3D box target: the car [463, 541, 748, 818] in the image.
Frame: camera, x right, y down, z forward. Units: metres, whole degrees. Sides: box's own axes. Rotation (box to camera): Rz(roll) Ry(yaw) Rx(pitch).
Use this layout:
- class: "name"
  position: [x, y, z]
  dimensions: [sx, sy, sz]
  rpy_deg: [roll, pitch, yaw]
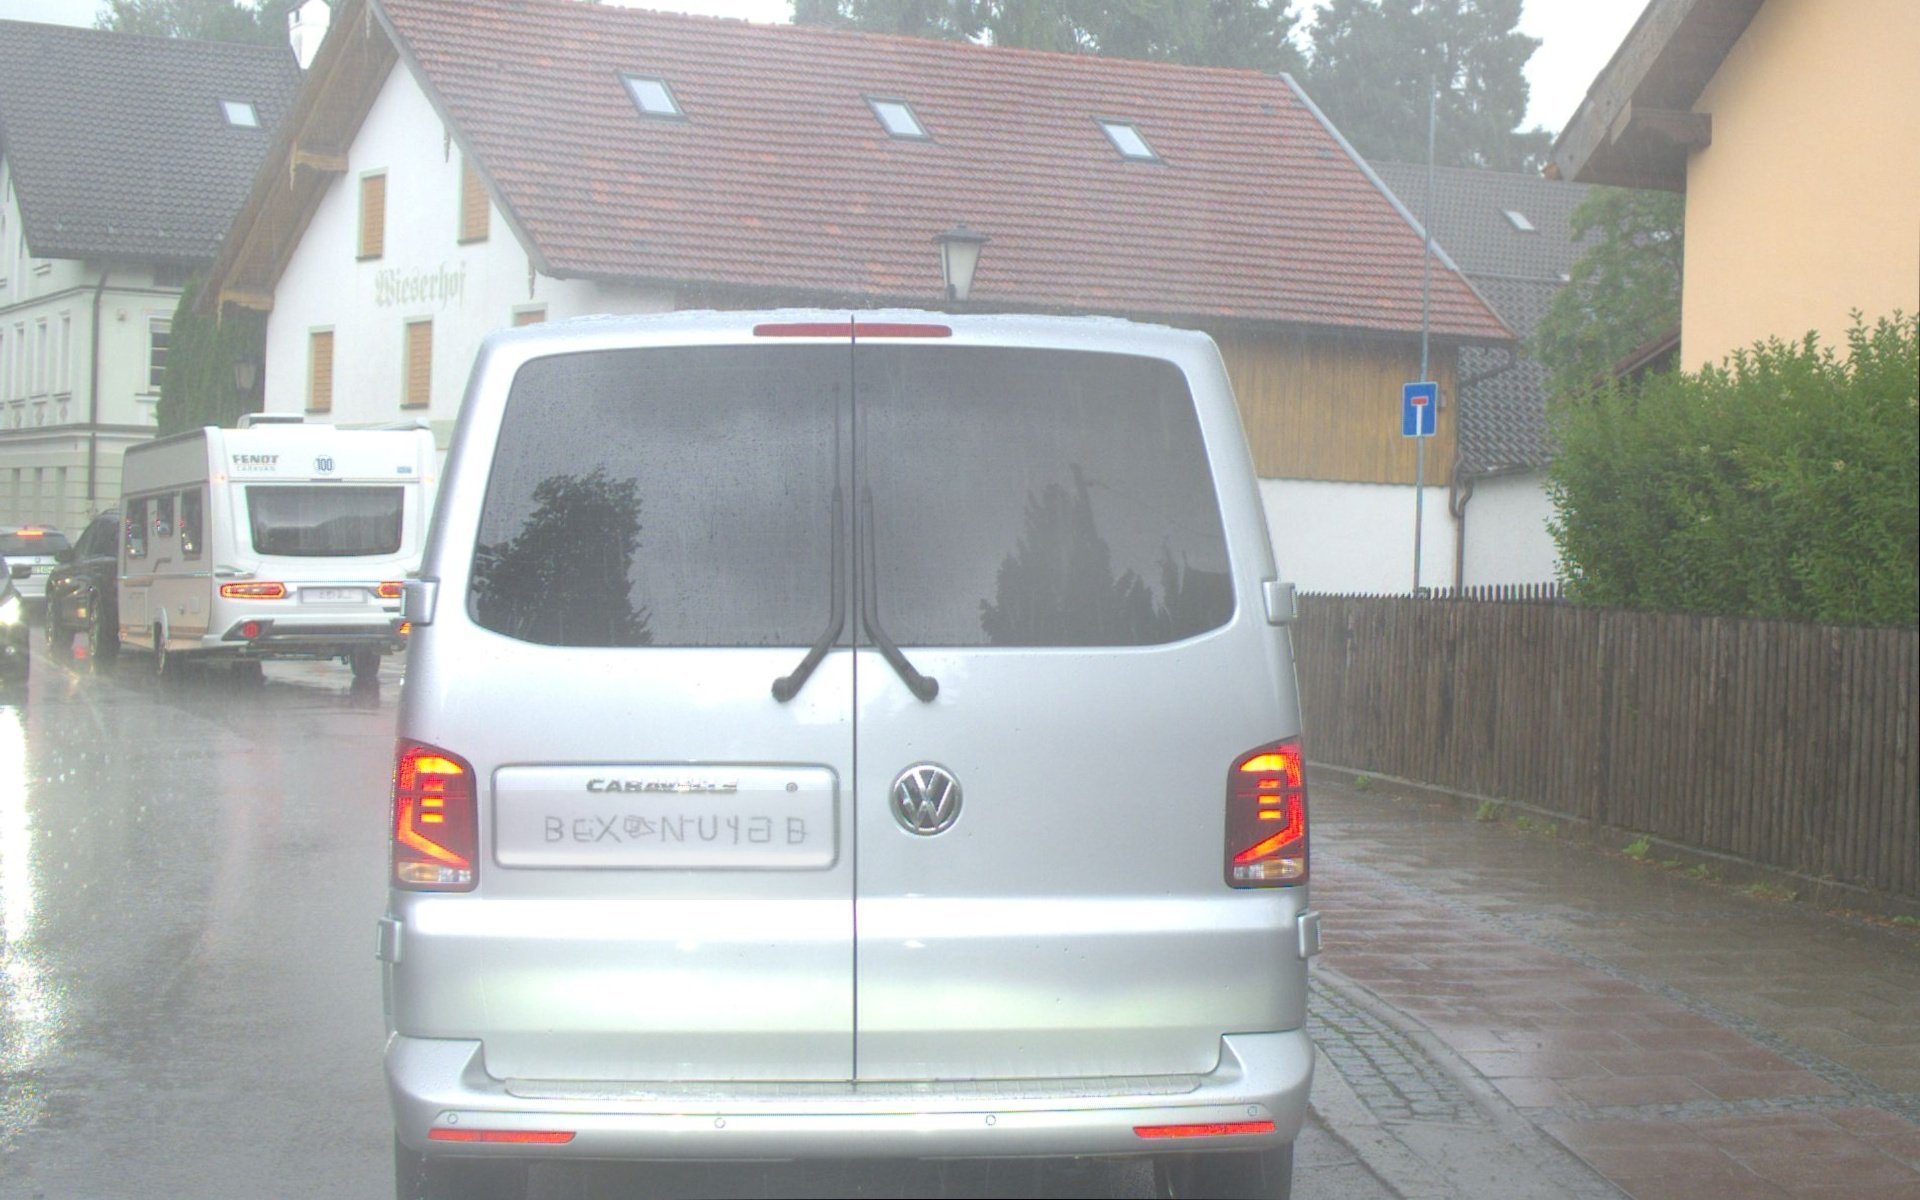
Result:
- class: "car"
  position: [-2.456, 0.441, 23.273]
  dimensions: [1.708, 1.578, 4.687]
  rpy_deg: [-1, 2, -7]

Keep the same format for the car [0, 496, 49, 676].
- class: "car"
  position: [-10.563, -0.166, 34.899]
  dimensions: [1.922, 1.738, 4.193]
  rpy_deg: [-1, 1, -23]

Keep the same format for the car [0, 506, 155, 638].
- class: "car"
  position: [-14.235, -0.455, 53.459]
  dimensions: [2.168, 1.893, 5.015]
  rpy_deg: [2, 0, -27]

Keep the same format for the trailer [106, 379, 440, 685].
- class: "trailer"
  position: [-7.260, -0.695, 35.752]
  dimensions: [2.270, 2.894, 6.134]
  rpy_deg: [0, 1, -22]

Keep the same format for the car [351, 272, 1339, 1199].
- class: "car"
  position: [-0.213, 0.353, 8.746]
  dimensions: [1.776, 1.956, 5.074]
  rpy_deg: [0, 1, 0]

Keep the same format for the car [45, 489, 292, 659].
- class: "car"
  position: [-9.510, -0.331, 40.982]
  dimensions: [2.053, 1.892, 5.177]
  rpy_deg: [0, 1, -22]
